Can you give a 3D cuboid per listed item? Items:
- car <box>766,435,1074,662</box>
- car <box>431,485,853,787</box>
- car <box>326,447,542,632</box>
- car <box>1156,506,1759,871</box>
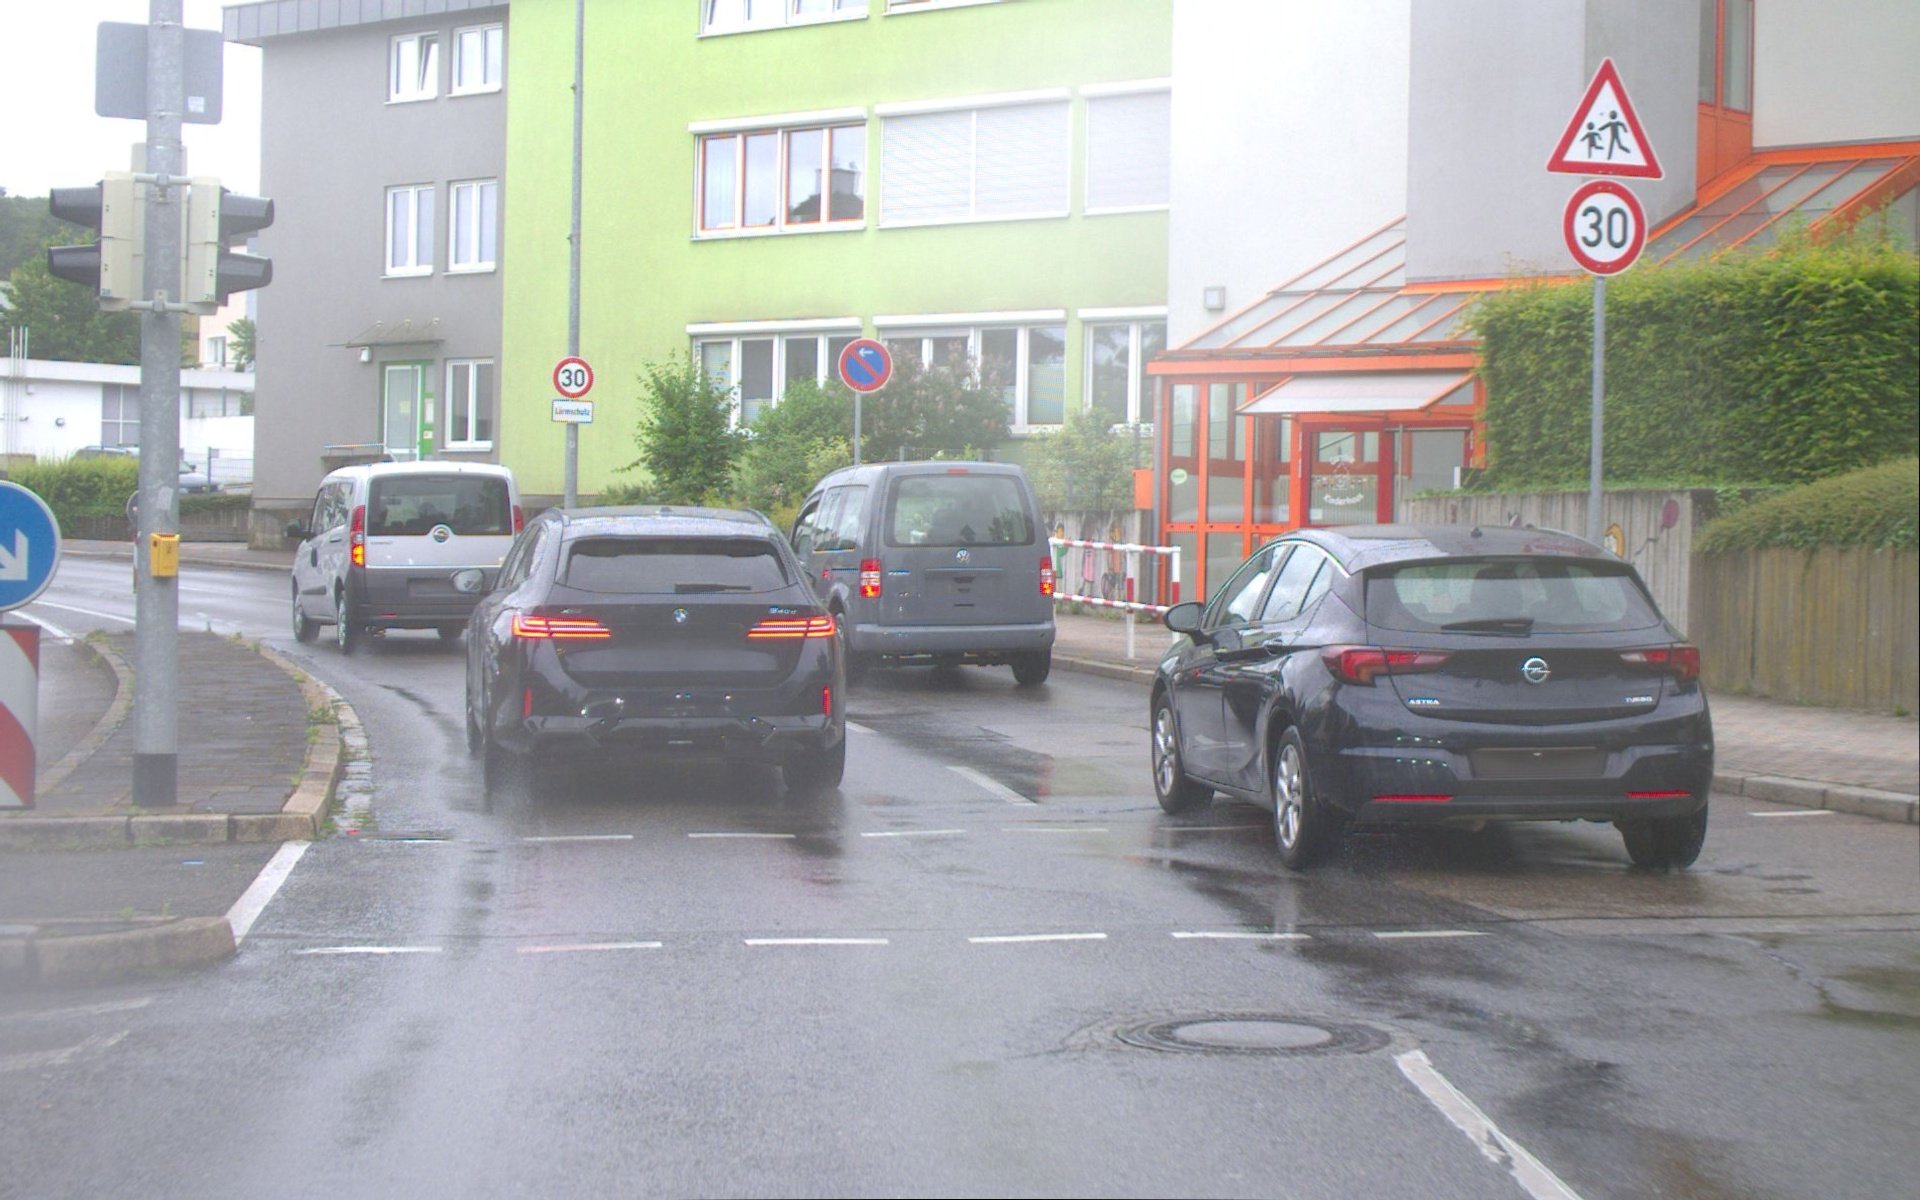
[{"bbox_3d":[-0.416,-0.418,28.922,1.838,1.761,4.001,1,0,-12],"label":"car"},{"bbox_3d":[-1.862,0.165,18.938,1.993,1.479,4.001,1,0,-10],"label":"car"},{"bbox_3d":[-5.331,-0.589,34.477,1.993,1.731,4.001,1,0,-11],"label":"car"},{"bbox_3d":[2.102,0.311,15.677,1.756,1.444,4.001,1,1,-6],"label":"car"}]
